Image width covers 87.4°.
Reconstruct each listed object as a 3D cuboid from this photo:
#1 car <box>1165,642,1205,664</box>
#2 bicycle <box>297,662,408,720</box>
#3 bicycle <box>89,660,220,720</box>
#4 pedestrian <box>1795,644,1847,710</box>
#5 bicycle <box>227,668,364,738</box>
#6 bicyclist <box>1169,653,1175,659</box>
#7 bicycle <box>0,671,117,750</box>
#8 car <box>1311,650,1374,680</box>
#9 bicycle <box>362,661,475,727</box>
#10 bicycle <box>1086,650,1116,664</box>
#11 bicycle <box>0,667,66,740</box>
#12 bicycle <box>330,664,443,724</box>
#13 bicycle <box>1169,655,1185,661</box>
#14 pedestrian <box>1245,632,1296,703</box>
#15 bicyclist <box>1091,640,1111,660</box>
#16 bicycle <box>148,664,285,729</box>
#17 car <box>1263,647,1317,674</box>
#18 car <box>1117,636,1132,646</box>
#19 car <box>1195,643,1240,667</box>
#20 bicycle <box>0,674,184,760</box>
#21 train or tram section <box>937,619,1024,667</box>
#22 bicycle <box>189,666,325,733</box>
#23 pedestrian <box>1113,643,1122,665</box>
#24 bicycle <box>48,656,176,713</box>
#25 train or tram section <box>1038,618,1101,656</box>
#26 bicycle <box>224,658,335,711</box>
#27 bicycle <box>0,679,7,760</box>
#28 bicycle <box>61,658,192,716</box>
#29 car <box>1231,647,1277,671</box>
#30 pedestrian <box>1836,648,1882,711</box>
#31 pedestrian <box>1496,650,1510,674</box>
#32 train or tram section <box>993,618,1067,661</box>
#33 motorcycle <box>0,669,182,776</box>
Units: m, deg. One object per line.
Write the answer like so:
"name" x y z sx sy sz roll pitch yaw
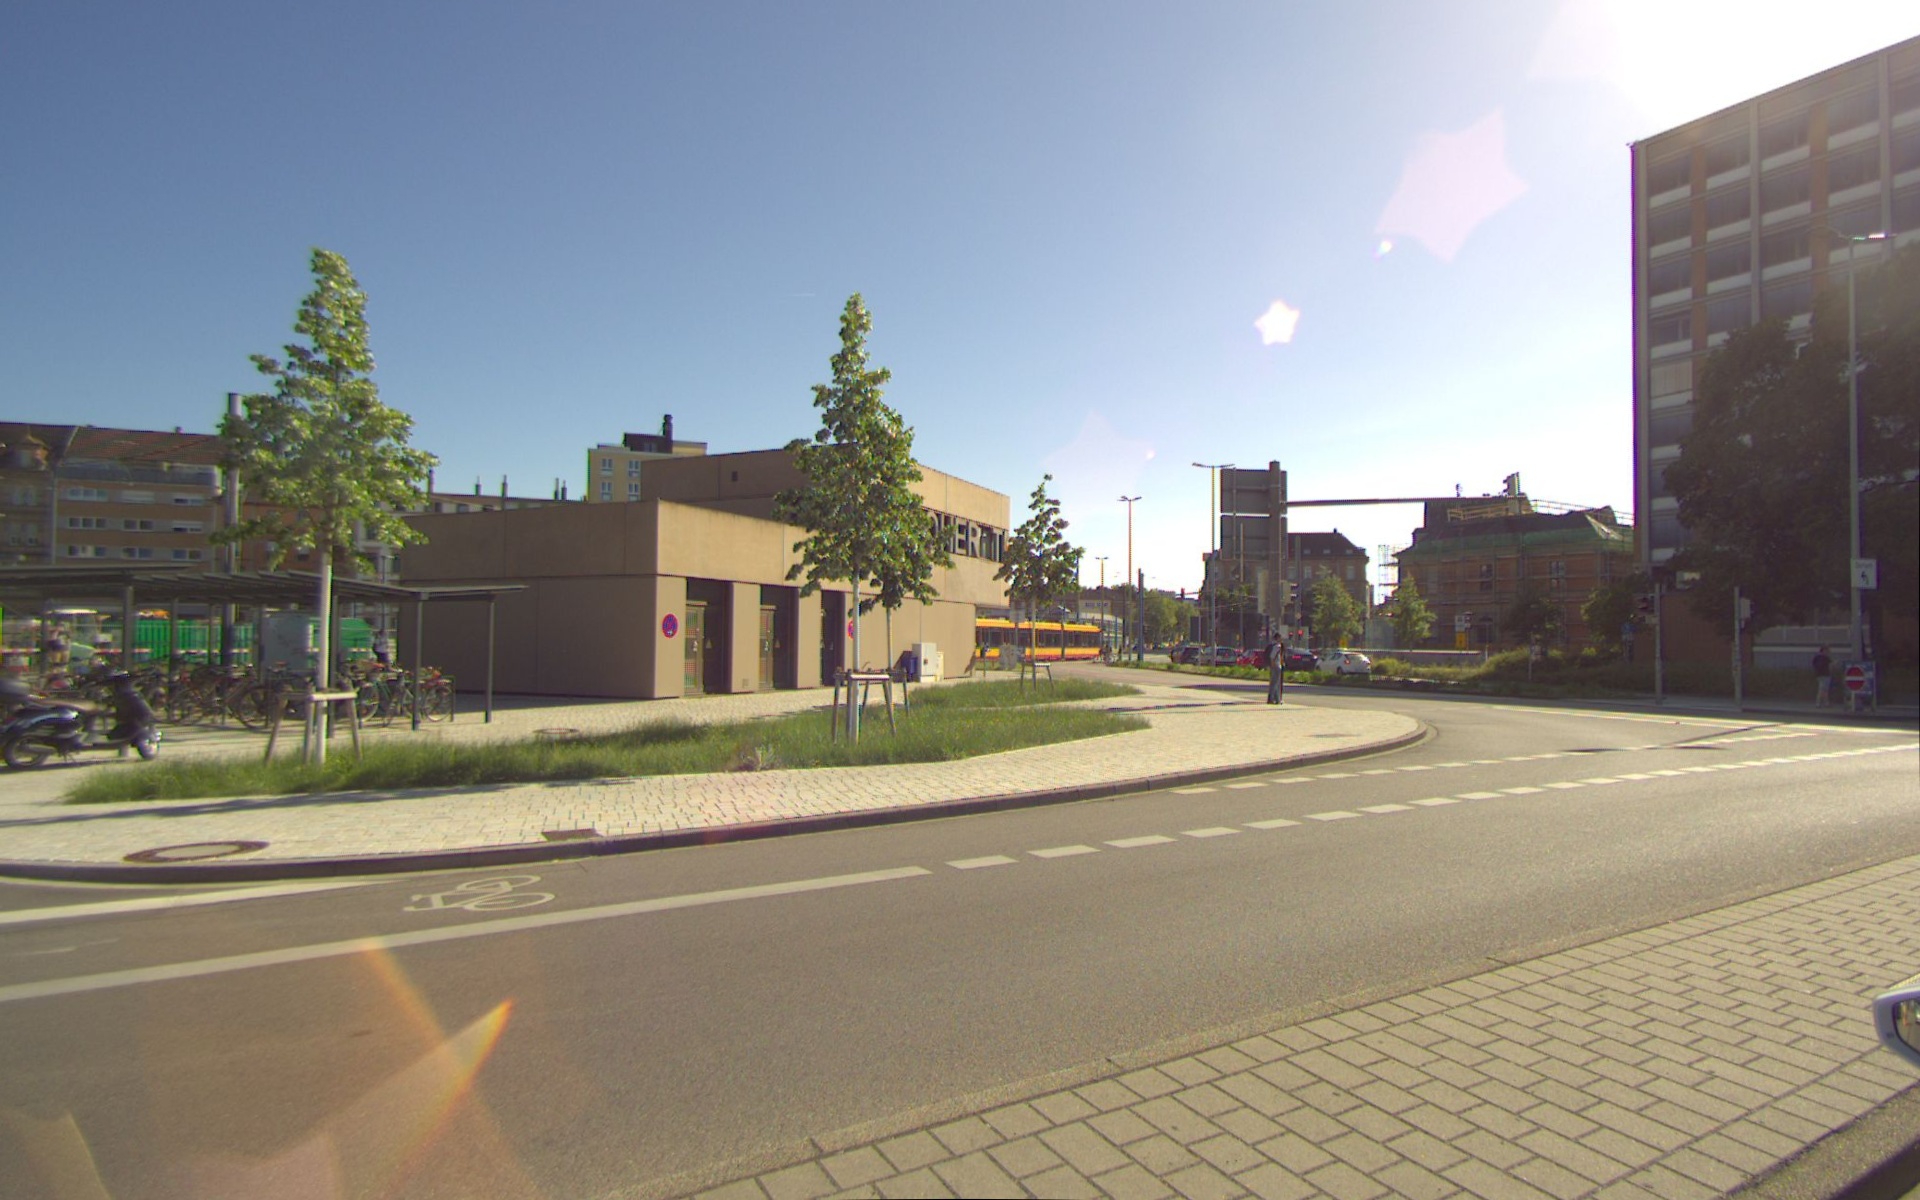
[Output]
"car" 16.782 3.928 74.999 1.760 1.528 3.880 1 -2 -6
"bicycle" -11.796 1.744 19.579 0.449 1.022 1.902 0 -2 26
"bicycle" -15.081 1.656 18.867 0.449 1.022 1.902 0 -2 26
"pedestrian" 25.322 2.254 29.547 0.895 1.887 0.813 1 -2 -16
"bicycle" -10.910 1.663 16.572 0.449 1.022 1.902 0 -2 26
"bicyclist" 18.076 4.773 85.615 0.560 0.556 0.431 0 -2 11
"bicycle" -13.029 1.537 14.017 0.449 1.022 1.902 0 -2 26
"car" 21.254 3.593 55.935 1.760 1.528 3.880 1 -2 -6
"bicycle" -9.927 1.697 18.492 0.449 1.112 1.902 0 -2 26
"bicycle" 11.930 4.828 84.993 2.370 1.076 0.811 2 0 14
"bicycle" -14.158 1.509 14.448 0.449 1.022 1.902 0 -2 26
"bicycle" -10.707 1.735 18.821 0.449 1.022 1.902 0 -2 26
"bicycle" 18.474 4.940 85.526 1.381 0.556 0.435 0 -2 11
"pedestrian" 7.840 1.695 25.364 1.044 1.753 0.652 1 -2 -16
"bicyclist" 11.916 4.236 84.977 1.544 1.655 0.811 2 0 15
"bicycle" -12.898 1.649 17.491 0.449 1.022 1.902 0 -2 26
"car" 20.581 3.767 62.791 1.760 1.528 3.880 1 -2 -6
"car" 33.335 8.287 203.275 1.961 2.040 3.998 2 0 23
"car" 17.463 3.693 68.272 1.760 1.528 3.880 1 -2 -6
"bicycle" -11.814 1.557 13.725 0.449 1.022 1.902 0 -2 26
"train or tram section" 1.718 3.089 75.283 2.649 3.275 10.595 2 0 24
"bicycle" -11.889 1.653 17.061 0.449 1.022 1.902 0 -2 26
"pedestrian" 12.825 4.374 81.877 0.761 1.786 0.706 0 -2 9
"bicycle" -16.700 1.639 19.840 0.449 1.022 1.902 0 -2 26
"train or tram section" 10.460 3.413 94.599 2.650 3.275 10.593 2 0 25
"bicycle" -14.072 1.729 20.831 0.449 1.022 1.902 0 -2 26
"bicycle" -12.745 1.485 12.005 0.449 1.022 1.902 0 -2 26
"bicycle" -15.917 1.644 19.242 0.449 1.022 1.902 0 -2 26
"car" 20.211 4.031 69.251 1.760 1.528 3.880 1 -2 -6
"pedestrian" 25.429 2.238 28.420 0.748 1.753 0.680 1 -2 -16
"pedestrian" 40.231 4.582 74.391 0.754 1.753 0.675 2 -2 -39
"train or tram section" 6.096 3.234 84.964 2.650 3.275 10.593 2 0 25
"motorcycle" -10.920 1.476 12.472 0.508 1.166 1.947 0 -2 25
